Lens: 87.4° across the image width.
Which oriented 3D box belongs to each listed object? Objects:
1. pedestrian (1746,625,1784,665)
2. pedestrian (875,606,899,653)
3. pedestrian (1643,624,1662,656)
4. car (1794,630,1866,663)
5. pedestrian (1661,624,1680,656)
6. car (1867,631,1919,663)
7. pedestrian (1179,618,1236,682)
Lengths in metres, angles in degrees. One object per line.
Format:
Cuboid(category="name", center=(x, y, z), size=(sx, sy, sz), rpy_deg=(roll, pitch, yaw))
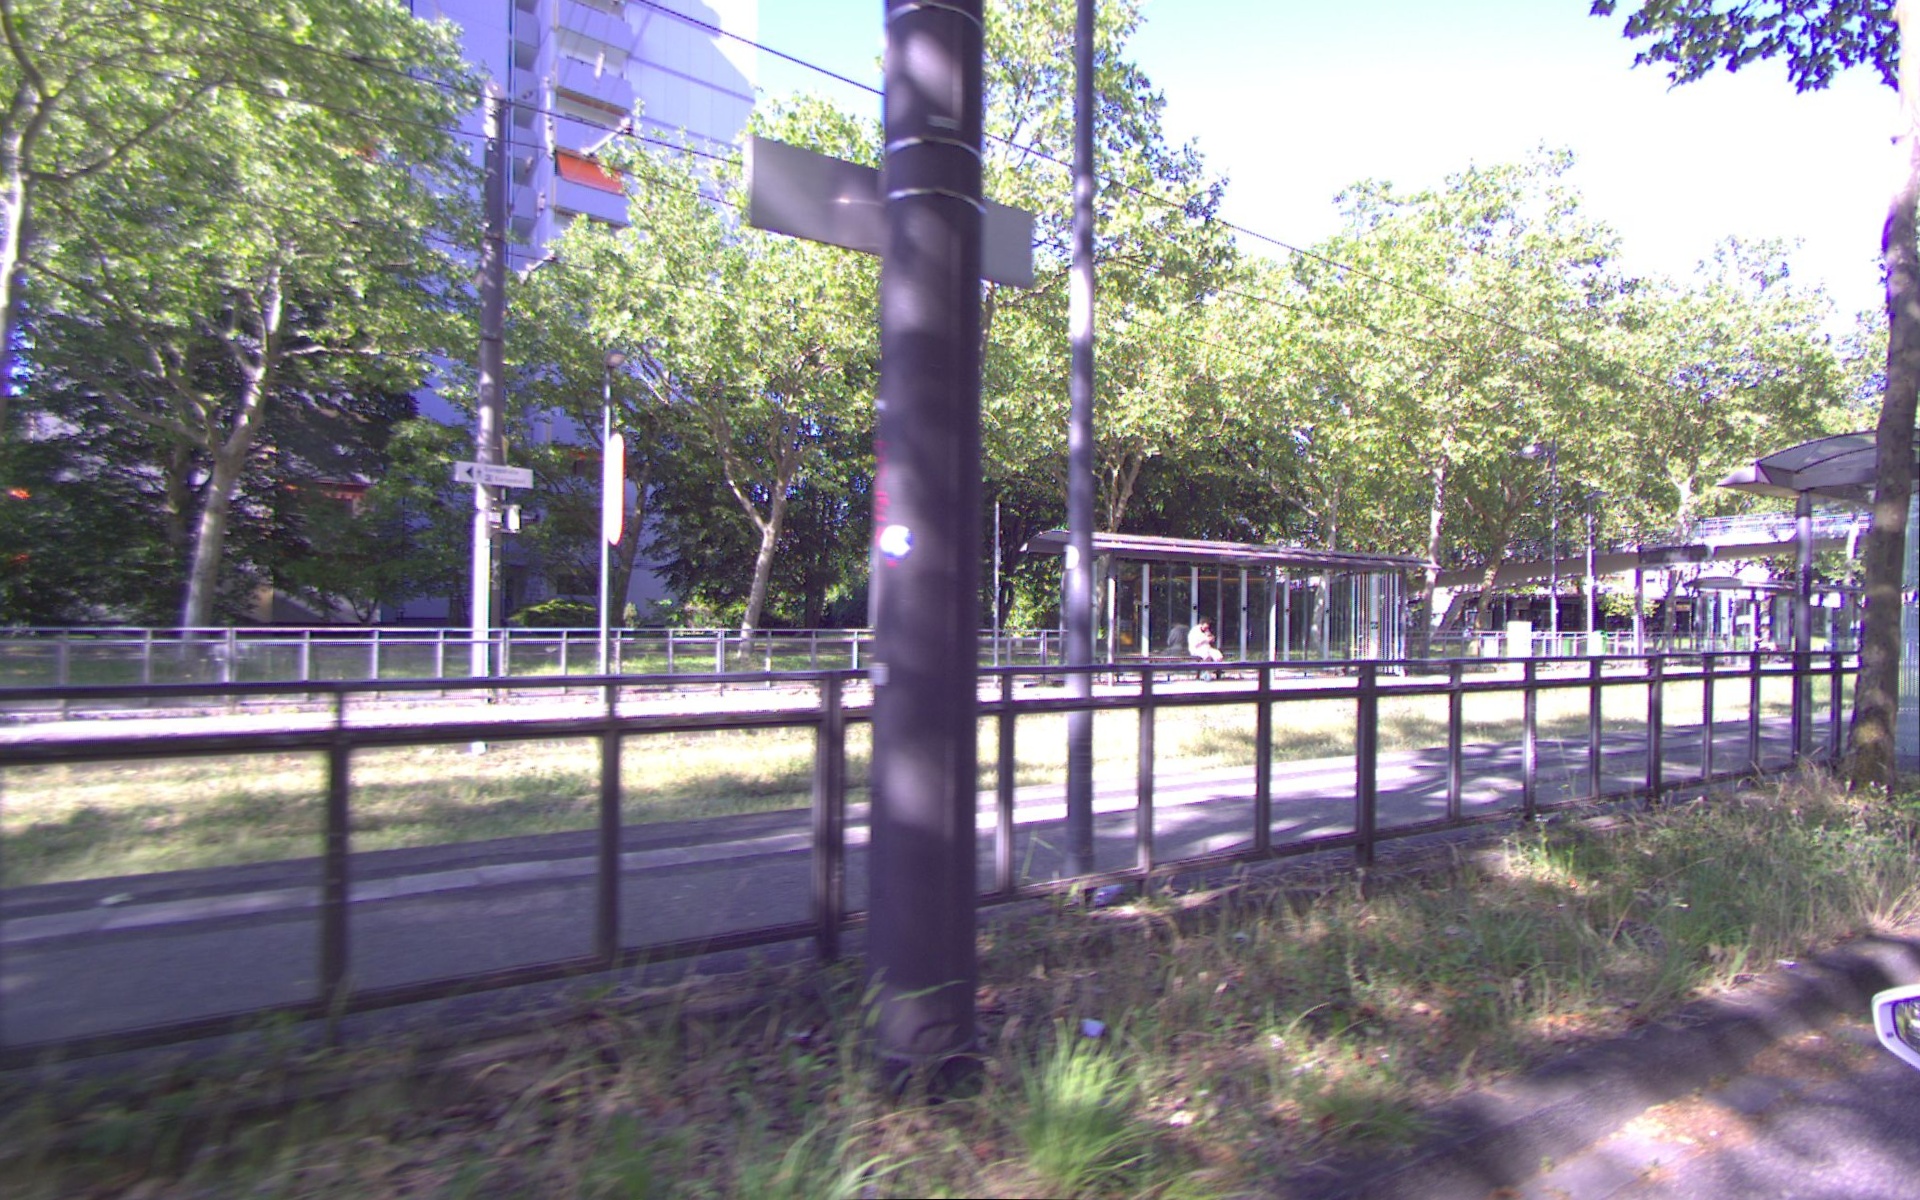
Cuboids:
Cuboid(category="pedestrian", center=(26.112, 1.440, 32.569), size=(0.714, 1.254, 0.773), rpy_deg=(1, -1, -32))
Cuboid(category="pedestrian", center=(-2.619, 1.064, 36.165), size=(0.642, 1.683, 0.645), rpy_deg=(1, 0, -30))
Cuboid(category="pedestrian", center=(36.765, 2.104, 53.328), size=(0.644, 1.683, 0.644), rpy_deg=(1, -1, -35))
Cuboid(category="car", center=(44.001, 2.338, 50.778), size=(4.245, 1.587, 1.783), rpy_deg=(1, -1, -35))
Cuboid(category="pedestrian", center=(37.852, 2.127, 53.492), size=(0.644, 1.683, 0.644), rpy_deg=(1, -1, -35))
Cuboid(category="car", center=(49.935, 2.449, 53.303), size=(1.768, 1.587, 4.280), rpy_deg=(0, -1, 30))
Cuboid(category="pedestrian", center=(4.849, 0.963, 19.680), size=(0.754, 1.199, 0.762), rpy_deg=(1, 0, -30))
